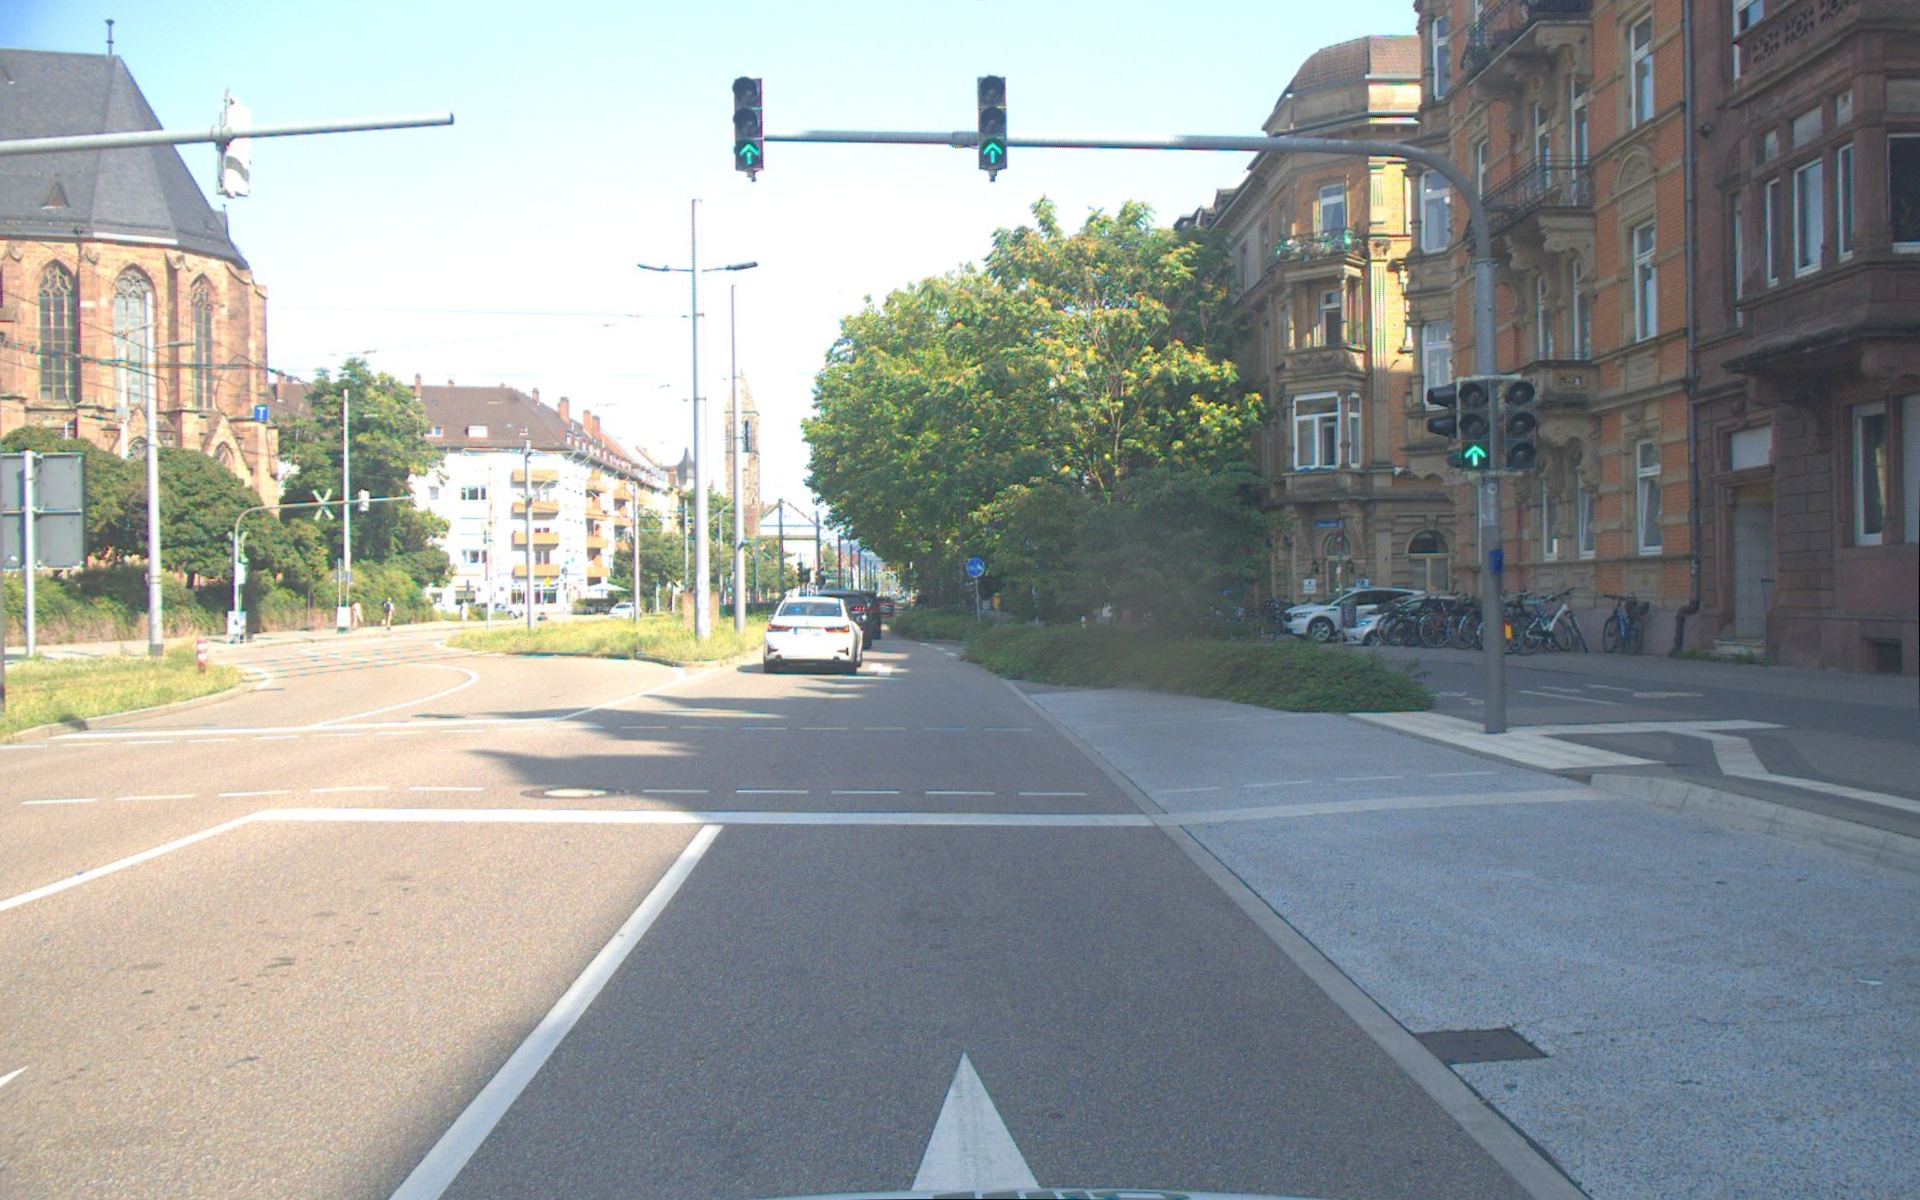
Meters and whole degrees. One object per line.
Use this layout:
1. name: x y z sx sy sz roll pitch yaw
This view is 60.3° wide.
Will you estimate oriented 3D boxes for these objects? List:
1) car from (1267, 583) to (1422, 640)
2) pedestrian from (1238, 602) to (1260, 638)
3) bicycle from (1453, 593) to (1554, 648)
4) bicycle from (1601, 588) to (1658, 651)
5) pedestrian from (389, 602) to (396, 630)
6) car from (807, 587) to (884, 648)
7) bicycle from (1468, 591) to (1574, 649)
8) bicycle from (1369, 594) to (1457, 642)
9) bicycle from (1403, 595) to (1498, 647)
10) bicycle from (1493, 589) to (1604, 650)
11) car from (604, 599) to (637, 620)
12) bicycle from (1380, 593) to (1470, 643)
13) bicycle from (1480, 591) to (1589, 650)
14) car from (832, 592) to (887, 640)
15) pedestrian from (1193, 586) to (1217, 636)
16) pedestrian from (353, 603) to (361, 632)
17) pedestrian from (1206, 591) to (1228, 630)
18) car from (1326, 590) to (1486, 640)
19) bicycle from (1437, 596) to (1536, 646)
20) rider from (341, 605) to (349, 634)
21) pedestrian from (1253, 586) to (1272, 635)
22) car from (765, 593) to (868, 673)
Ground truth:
1. car: 11.541 0.334 49.765 4.100 1.590 1.998 -1 0 -6
2. pedestrian: 8.803 0.608 50.321 0.439 1.089 0.482 -1 0 -32
3. bicycle: 10.926 0.409 33.278 1.891 1.066 0.499 -1 0 -7
4. bicycle: 11.773 0.329 29.105 0.408 1.066 1.670 -1 0 4
5. pedestrian: -31.349 0.897 91.380 0.298 1.544 0.340 -1 0 -6
6. car: -3.209 0.465 47.102 1.953 1.649 4.356 0 0 -1
7. bicycle: 10.762 0.379 31.761 1.891 1.066 0.499 -1 0 -7
8. bicycle: 10.521 0.421 38.412 1.891 1.066 0.526 -1 0 -7
9. bicycle: 10.523 0.445 35.502 1.891 1.066 0.526 -1 0 -7
10. bicycle: 10.781 0.360 30.302 1.891 1.066 0.499 -1 0 -7
11. car: -26.072 0.748 127.108 1.954 1.526 3.997 -1 0 -3
12. bicycle: 10.553 0.401 37.554 1.891 1.066 0.526 -1 0 -7
13. bicycle: 10.783 0.379 31.052 1.891 1.066 0.499 -1 0 -7
14. car: -3.578 0.541 59.330 1.794 1.649 4.356 0 0 -1
15. pedestrian: 7.345 0.336 49.586 0.562 1.479 0.731 -1 0 -1
16. pedestrian: -32.603 0.956 89.448 0.298 1.544 0.340 -1 0 -6
17. pedestrian: 8.363 0.335 53.871 0.586 1.270 0.506 -1 0 -2
18. car: 12.003 0.388 44.582 3.860 1.243 1.545 -1 0 -6
19. bicycle: 10.857 0.430 34.106 1.891 0.967 0.499 -1 0 -7
20. rider: -30.450 0.959 81.901 0.301 1.456 0.250 -1 0 -5
21. pedestrian: 9.507 0.321 51.921 0.435 1.532 0.486 -1 0 -7
22. car: -2.803 0.609 33.265 1.772 1.452 4.773 1 0 -2
